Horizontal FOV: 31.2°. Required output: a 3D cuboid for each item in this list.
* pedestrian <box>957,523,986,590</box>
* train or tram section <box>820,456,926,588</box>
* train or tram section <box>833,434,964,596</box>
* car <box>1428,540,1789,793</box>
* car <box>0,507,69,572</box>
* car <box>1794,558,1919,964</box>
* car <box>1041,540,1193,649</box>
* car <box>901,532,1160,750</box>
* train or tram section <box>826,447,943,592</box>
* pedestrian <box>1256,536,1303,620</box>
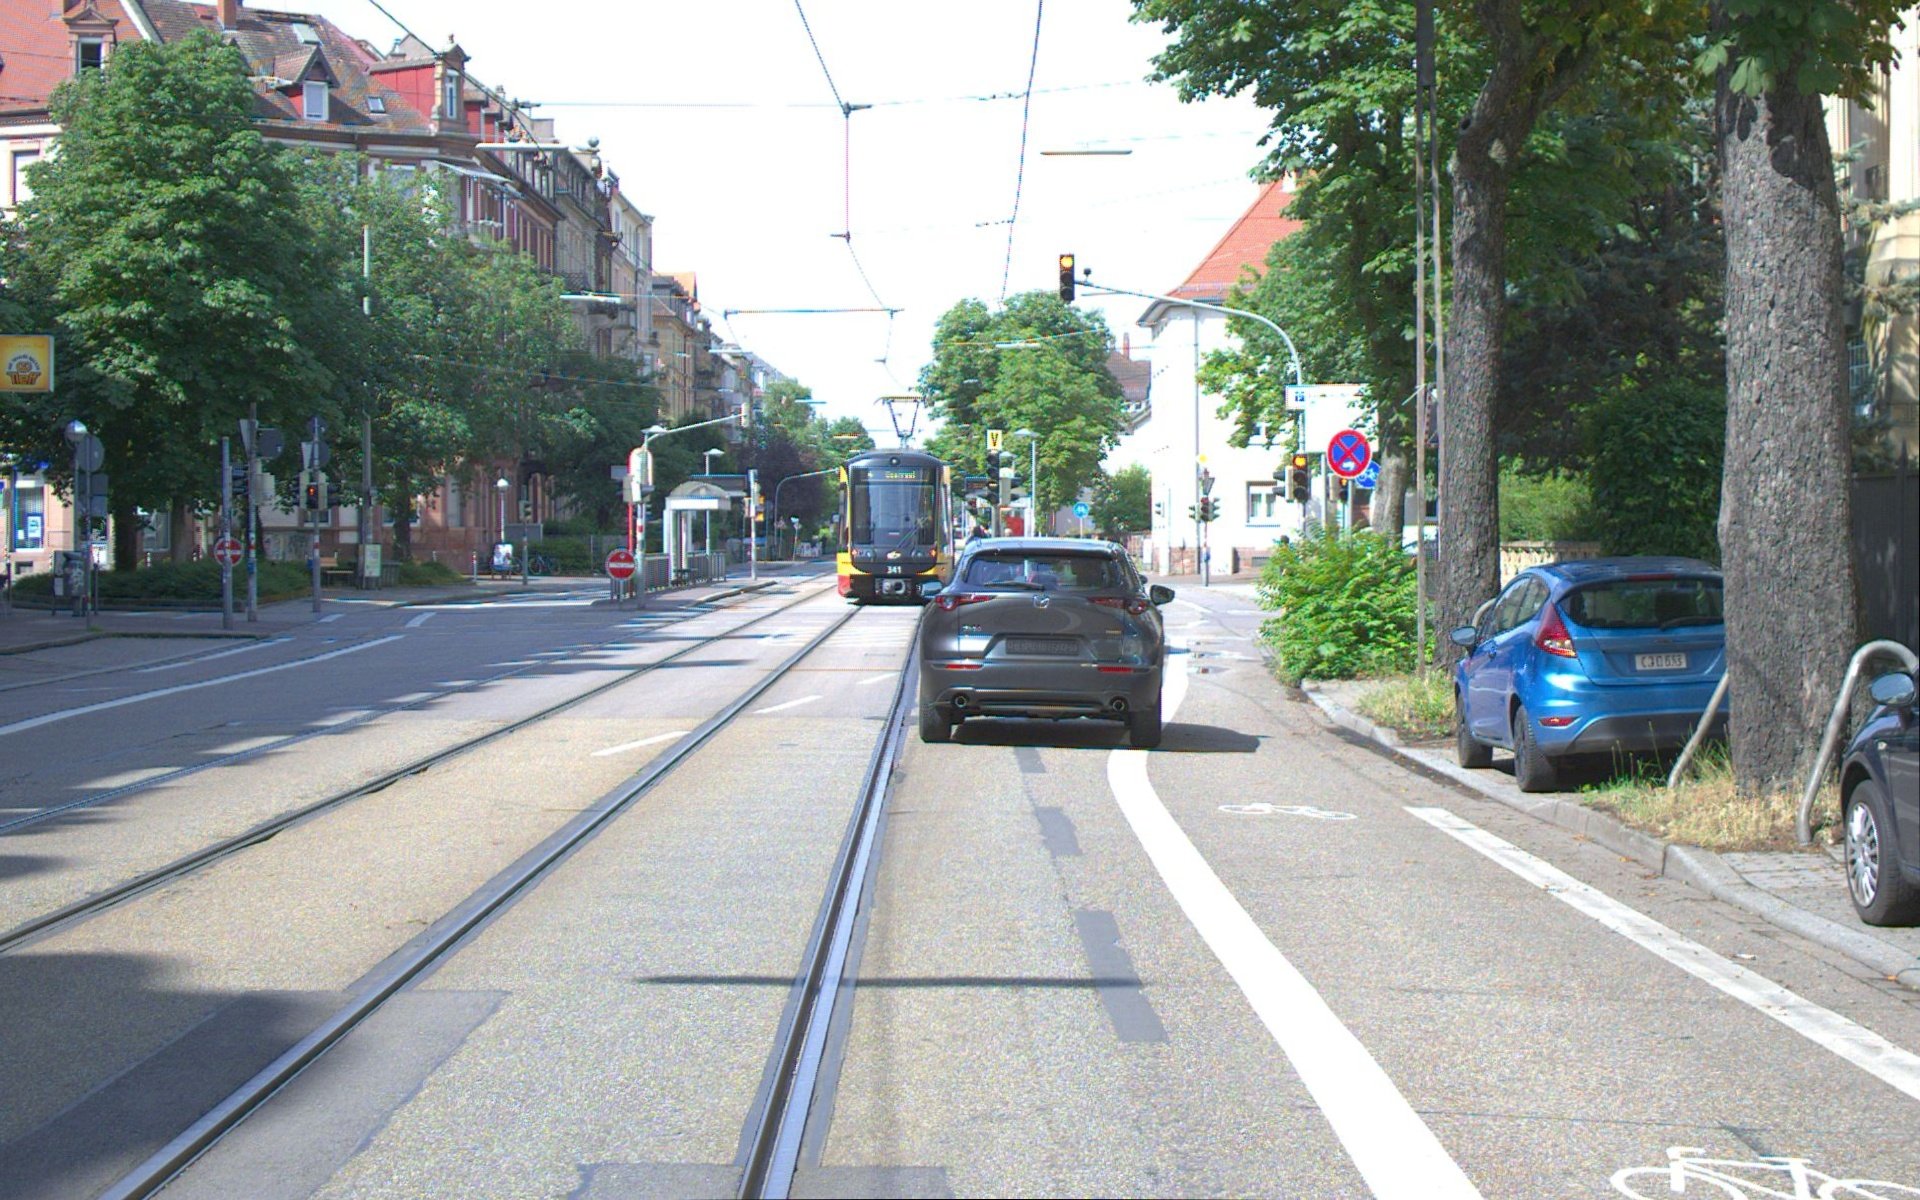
[{"bbox_3d":[0.278,-1.039,82.148,0.667,1.599,0.700,0,1,-2],"label":"pedestrian"},{"bbox_3d":[-2.526,-2.151,97.038,2.651,3.515,8.498,-1,1,-3],"label":"train or tram section"},{"bbox_3d":[-1.504,-1.927,80.078,2.651,3.515,8.498,-1,1,-3],"label":"train or tram section"},{"bbox_3d":[4.252,0.377,23.087,1.624,1.491,3.848,-2,1,0],"label":"car"},{"bbox_3d":[-31.443,-1.909,112.005,4.121,2.007,1.999,-3,1,10],"label":"car"},{"bbox_3d":[4.408,0.601,12.557,1.639,1.491,3.758,-2,1,-2],"label":"car"},{"bbox_3d":[2.260,-0.121,50.638,1.784,1.487,4.884,-1,1,-3],"label":"car"},{"bbox_3d":[0.464,0.250,26.642,1.789,1.507,4.351,1,1,-1],"label":"car"},{"bbox_3d":[-2.006,-2.038,88.588,2.651,3.515,8.498,-1,1,-3],"label":"train or tram section"},{"bbox_3d":[6.082,-0.421,65.438,0.875,1.599,0.632,0,1,3],"label":"pedestrian"}]
